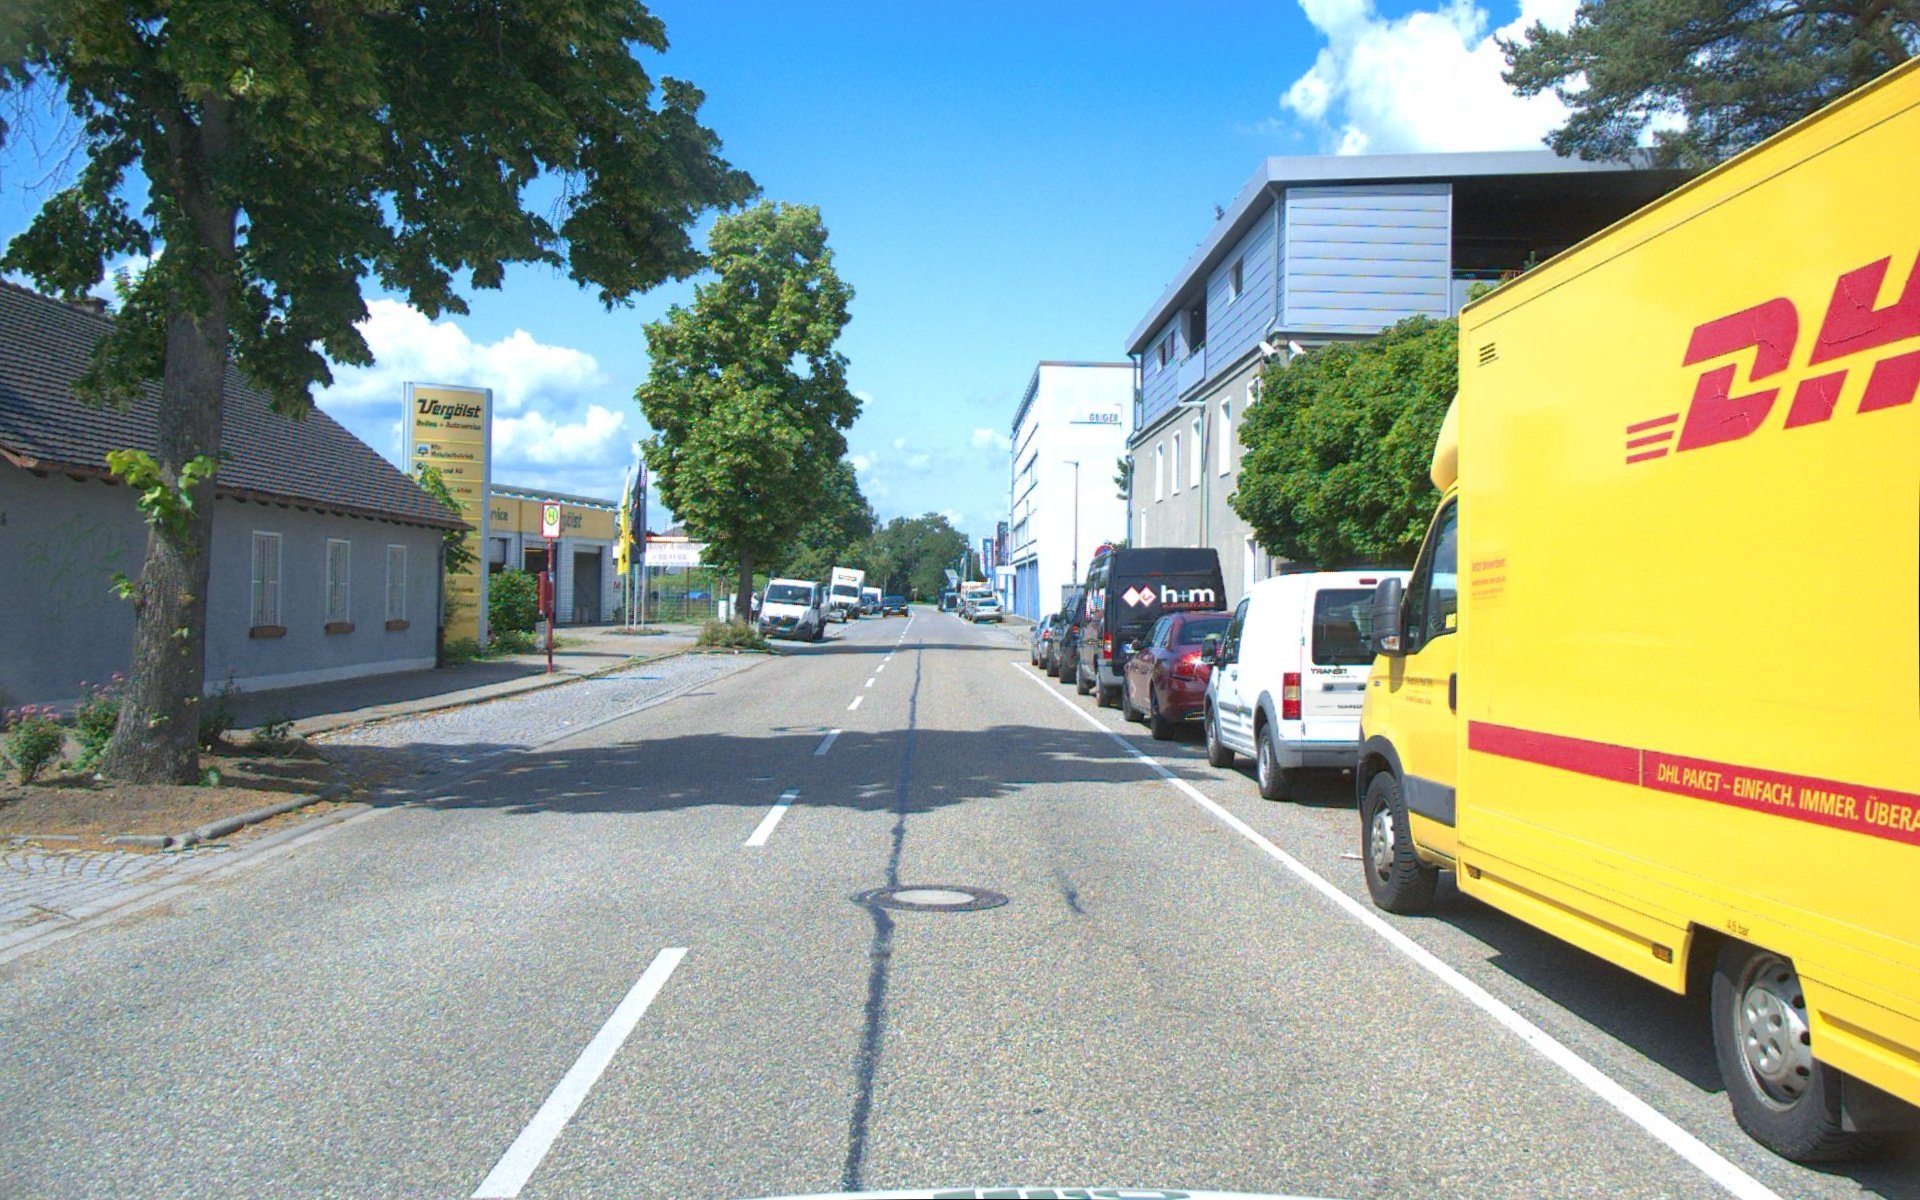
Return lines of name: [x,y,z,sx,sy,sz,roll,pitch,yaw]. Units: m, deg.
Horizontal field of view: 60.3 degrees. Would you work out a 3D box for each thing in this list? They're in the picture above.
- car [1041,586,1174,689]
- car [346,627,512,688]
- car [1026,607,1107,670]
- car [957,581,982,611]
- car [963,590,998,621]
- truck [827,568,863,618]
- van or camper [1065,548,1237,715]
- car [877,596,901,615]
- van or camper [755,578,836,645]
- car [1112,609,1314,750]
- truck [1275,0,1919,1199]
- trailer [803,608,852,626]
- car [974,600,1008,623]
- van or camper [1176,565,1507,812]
car: [2.818,0.672,32.696,1.921,1.811,4.952,2,0,-2]
car: [-13.918,1.485,43.426,3.754,1.447,1.732,1,0,11]
car: [2.487,0.883,39.470,1.596,1.377,3.923,0,0,-1]
car: [0.703,-0.295,122.522,1.673,2.126,3.999,1,0,-2]
car: [1.364,0.351,111.961,2.171,2.049,5.484,1,0,-1]
truck: [-7.627,-0.486,110.074,1.988,3.209,6.498,1,0,-1]
van or camper: [2.930,0.455,26.590,1.953,2.331,5.446,2,0,-1]
car: [-5.133,0.402,120.343,1.621,1.348,4.415,1,0,-1]
van or camper: [-6.461,0.420,65.882,2.128,2.455,7.699,1,0,2]
car: [2.985,0.887,20.447,1.647,1.467,4.765,2,0,-1]
truck: [3.213,0.070,5.997,2.425,2.991,7.185,2,0,-2]
trailer: [-7.579,0.979,94.982,2.368,0.828,5.536,3,0,-1]
car: [1.821,0.659,98.461,1.889,1.333,3.999,1,0,-1]
van or camper: [3.275,0.675,15.398,1.723,1.837,5.586,2,0,0]
